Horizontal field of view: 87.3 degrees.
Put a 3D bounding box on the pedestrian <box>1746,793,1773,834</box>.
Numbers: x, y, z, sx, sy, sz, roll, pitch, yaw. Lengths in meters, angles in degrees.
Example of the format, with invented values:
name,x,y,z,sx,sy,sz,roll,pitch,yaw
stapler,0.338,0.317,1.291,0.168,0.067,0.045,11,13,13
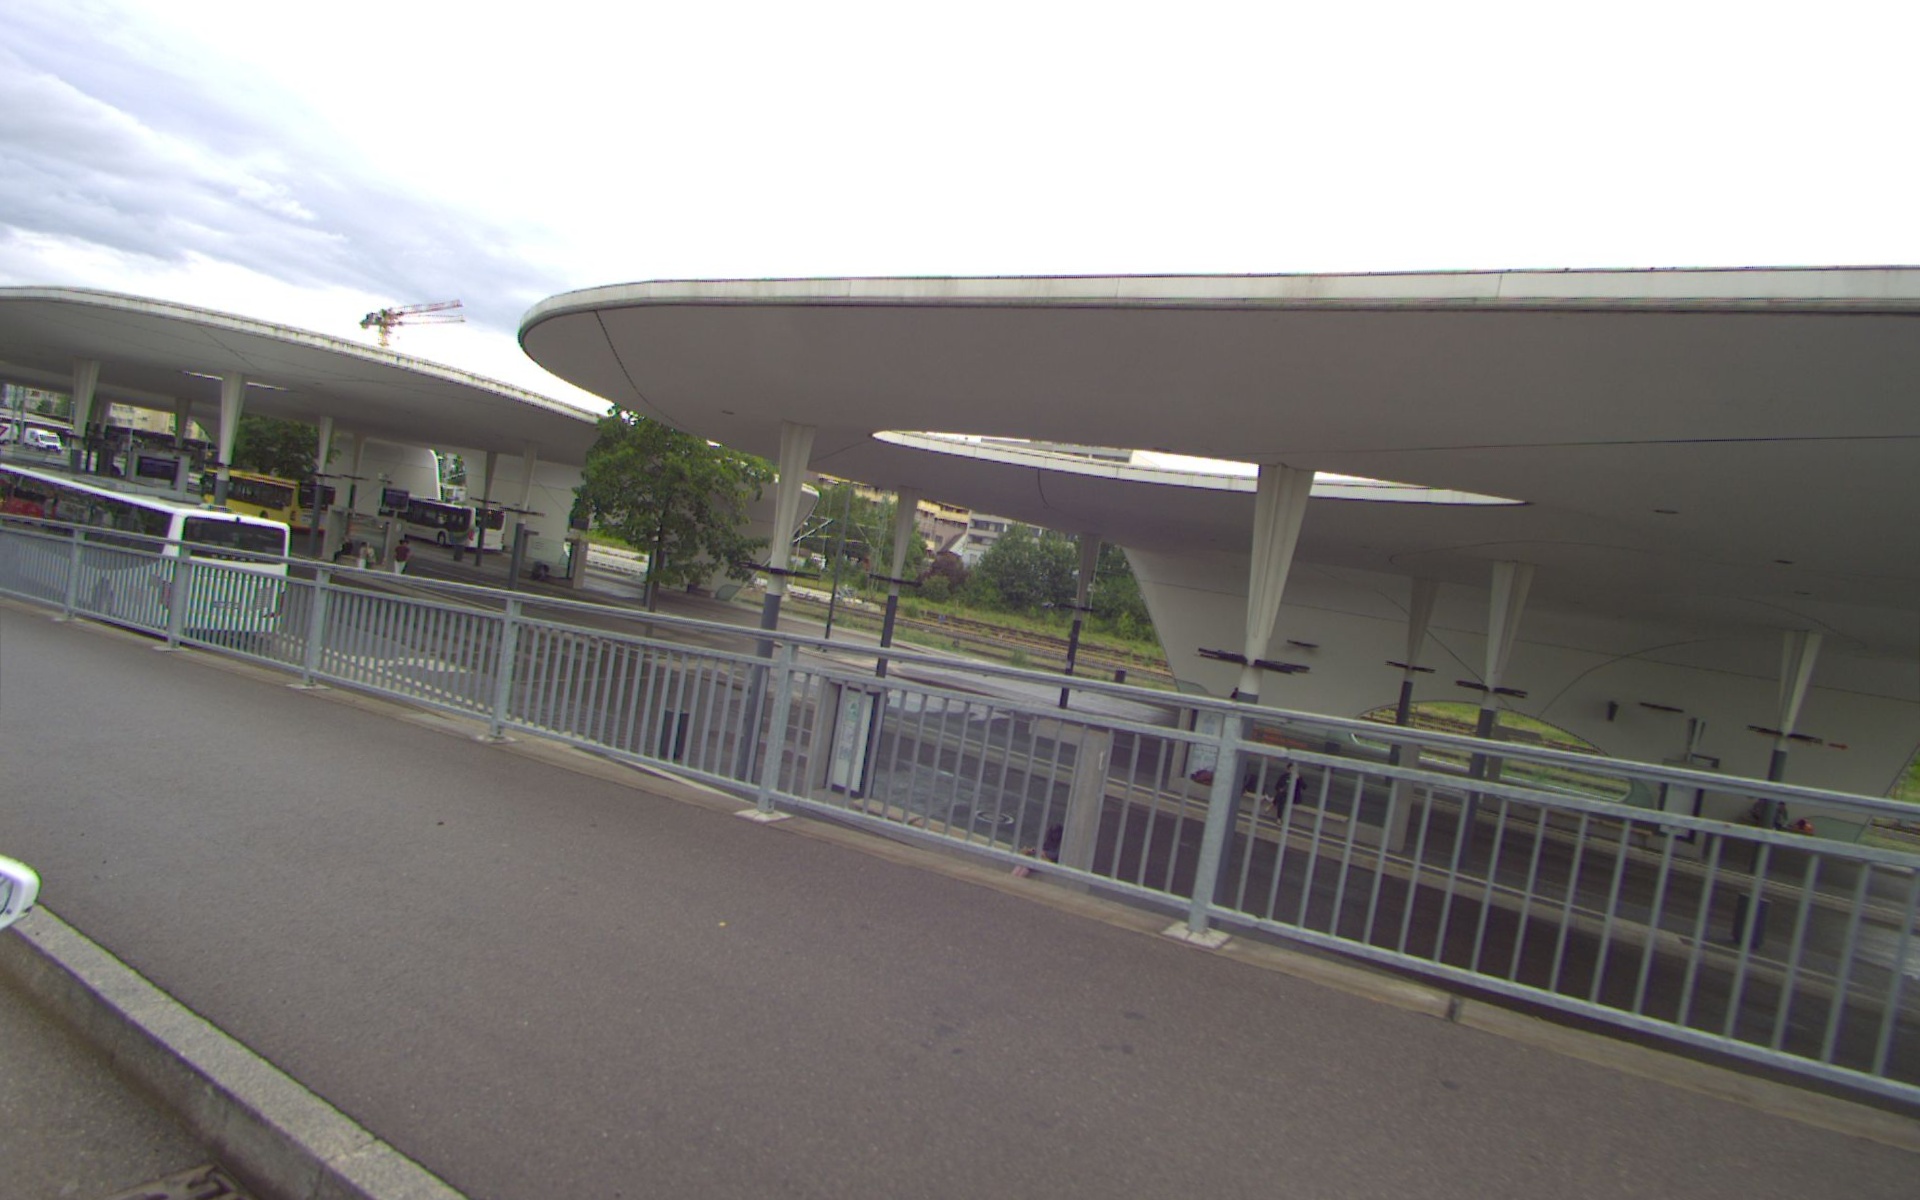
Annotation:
name,x,y,z,sx,sy,sz,roll,pitch,yaw
pedestrian,27.811,7.424,34.999,0.576,1.285,0.568,6,-1,33

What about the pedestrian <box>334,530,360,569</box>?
name,x,y,z,sx,sy,sz,roll,pitch,yaw
pedestrian,-27.780,-2.284,45.575,0.666,1.608,0.590,7,-1,27

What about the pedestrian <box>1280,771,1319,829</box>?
name,x,y,z,sx,sy,sz,roll,pitch,yaw
pedestrian,7.873,4.629,23.339,0.658,1.177,0.536,6,-1,28

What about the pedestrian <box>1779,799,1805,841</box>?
name,x,y,z,sx,sy,sz,roll,pitch,yaw
pedestrian,28.537,7.537,34.509,0.537,1.295,0.568,6,-1,33

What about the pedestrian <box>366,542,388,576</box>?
name,x,y,z,sx,sy,sz,roll,pitch,yaw
pedestrian,-25.647,-1.805,44.262,0.548,1.412,0.568,11,5,37

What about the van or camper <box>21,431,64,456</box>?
name,x,y,z,sx,sy,sz,roll,pitch,yaw
van or camper,-103.163,-17.580,113.062,5.388,2.128,1.997,8,0,31

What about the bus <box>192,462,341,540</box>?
name,x,y,z,sx,sy,sz,roll,pitch,yaw
bus,-44.196,-6.342,63.935,11.933,3.300,2.791,10,4,30

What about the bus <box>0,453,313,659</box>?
name,x,y,z,sx,sy,sz,roll,pitch,yaw
bus,-22.008,-1.389,26.597,12.215,3.401,2.851,11,1,31

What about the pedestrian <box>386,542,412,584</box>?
name,x,y,z,sx,sy,sz,roll,pitch,yaw
pedestrian,-23.676,-1.564,42.468,0.629,1.677,0.641,7,4,-9

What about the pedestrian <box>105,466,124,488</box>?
name,x,y,z,sx,sy,sz,roll,pitch,yaw
pedestrian,-69.528,-10.153,82.736,0.892,1.606,0.796,9,2,25

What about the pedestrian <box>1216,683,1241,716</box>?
name,x,y,z,sx,sy,sz,roll,pitch,yaw
pedestrian,11.976,4.442,44.832,0.700,1.340,0.799,6,-2,36

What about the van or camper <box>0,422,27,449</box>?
name,x,y,z,sx,sy,sz,roll,pitch,yaw
van or camper,-109.814,-19.065,114.556,2.083,2.588,4.617,8,-1,30

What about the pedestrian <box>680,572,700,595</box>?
name,x,y,z,sx,sy,sz,roll,pitch,yaw
pedestrian,-16.830,-1.026,62.750,0.789,1.340,0.710,6,-2,34

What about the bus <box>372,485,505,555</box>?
name,x,y,z,sx,sy,sz,roll,pitch,yaw
bus,-37.104,-5.755,71.308,11.769,3.302,2.466,11,5,31

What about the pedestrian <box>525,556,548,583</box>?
name,x,y,z,sx,sy,sz,roll,pitch,yaw
pedestrian,-22.435,-1.615,53.277,0.790,1.340,0.709,6,-2,39
